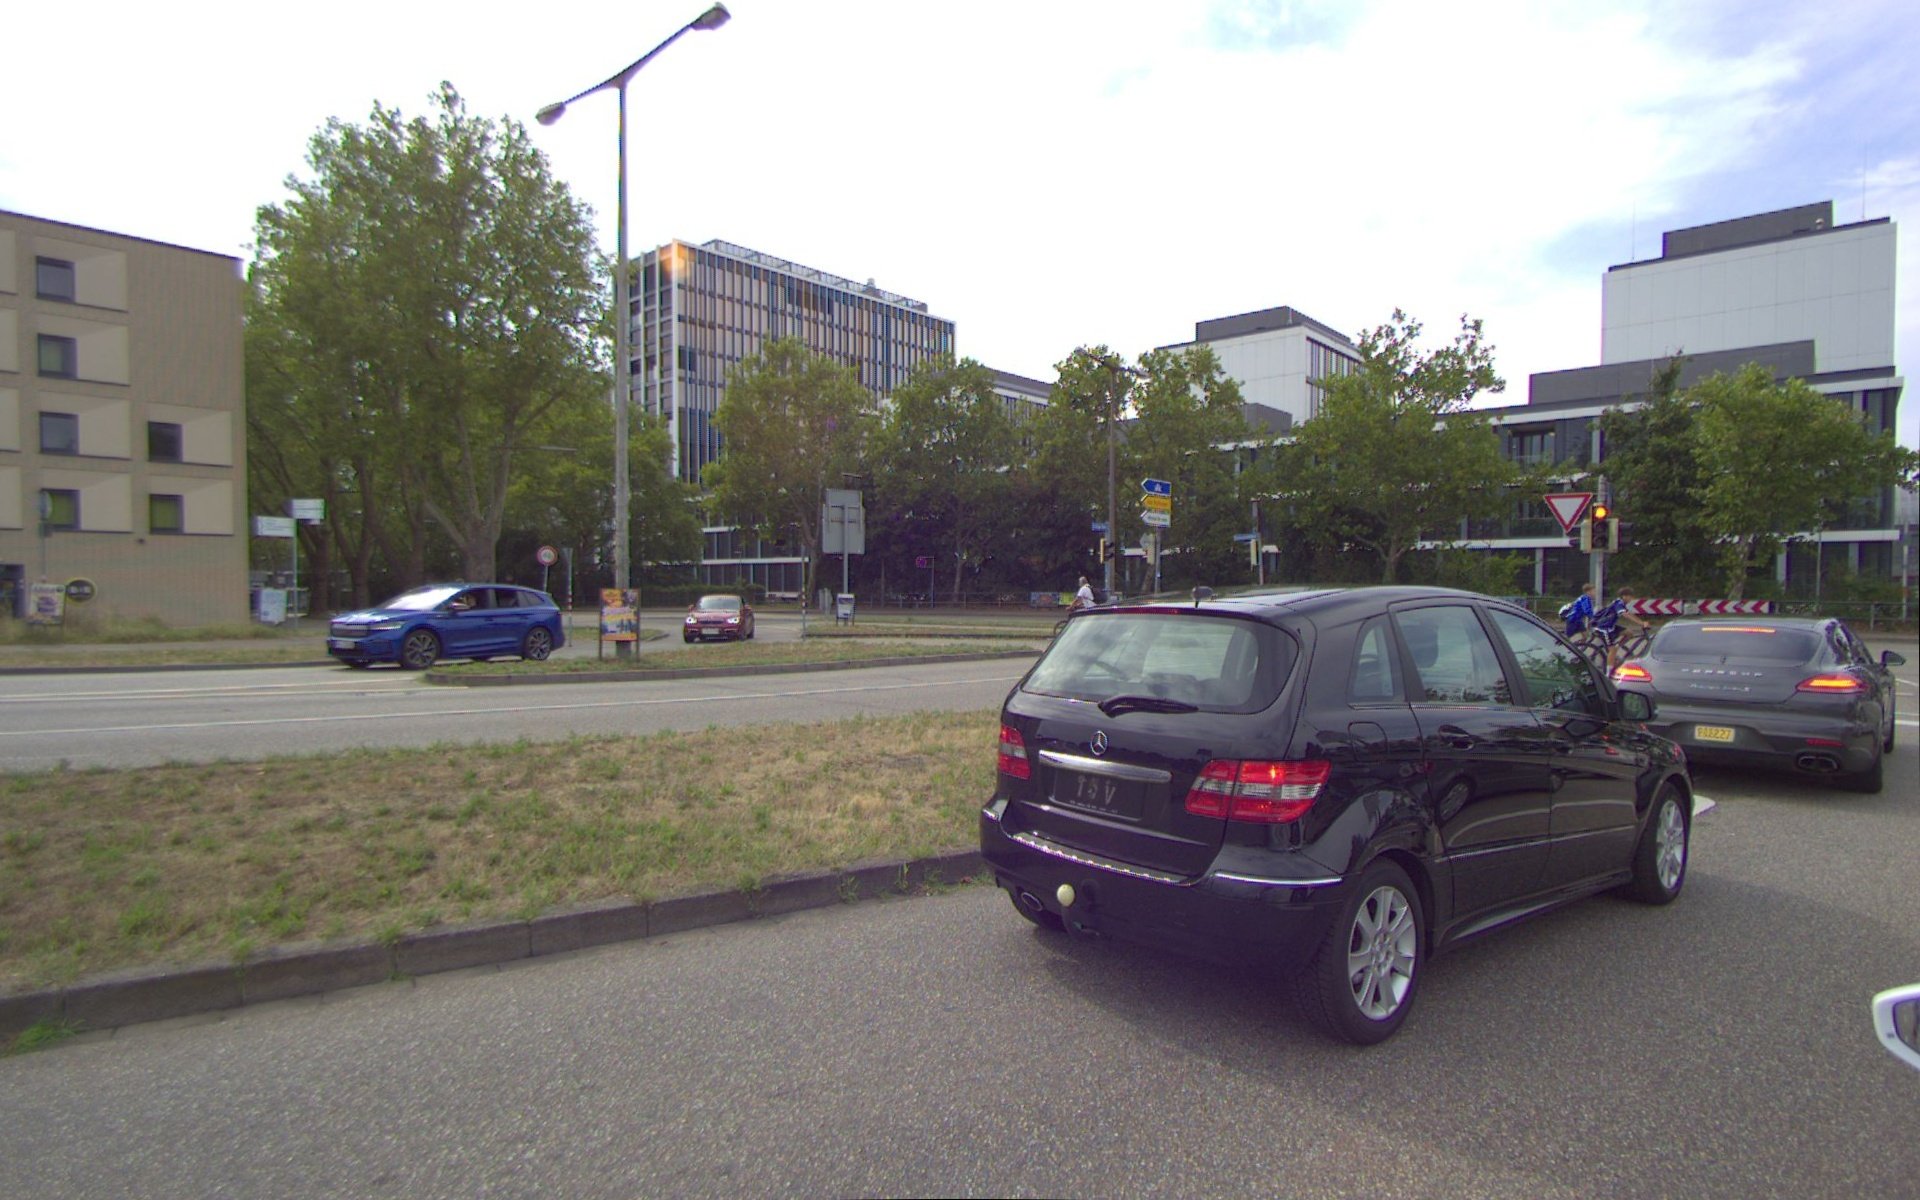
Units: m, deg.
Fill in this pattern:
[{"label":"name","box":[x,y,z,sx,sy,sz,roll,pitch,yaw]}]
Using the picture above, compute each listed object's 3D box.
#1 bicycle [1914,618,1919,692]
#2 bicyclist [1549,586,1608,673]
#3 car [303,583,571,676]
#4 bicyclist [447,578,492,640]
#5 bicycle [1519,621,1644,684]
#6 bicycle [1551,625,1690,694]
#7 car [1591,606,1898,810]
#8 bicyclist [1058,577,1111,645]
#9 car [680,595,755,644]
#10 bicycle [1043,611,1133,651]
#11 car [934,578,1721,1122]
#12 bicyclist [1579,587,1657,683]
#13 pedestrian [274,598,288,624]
[{"label":"bicycle","box":[16.925,0.939,16.411,1.879,1.226,0.640,1,1,41]},{"label":"bicyclist","box":[11.320,0.519,18.394,0.828,1.550,0.625,1,1,40]},{"label":"car","box":[-10.064,0.540,19.759,1.912,1.581,4.462,1,0,23]},{"label":"bicyclist","box":[-13.258,0.241,27.157,0.905,1.636,0.739,1,1,36]},{"label":"bicycle","box":[11.341,0.930,18.369,1.878,1.027,0.625,1,1,40]},{"label":"bicycle","box":[11.085,0.966,16.905,1.880,1.027,0.625,1,1,43]},{"label":"car","box":[7.726,0.808,9.691,1.800,1.433,4.746,2,1,44]},{"label":"bicyclist","box":[3.242,0.283,26.183,1.097,1.719,0.810,1,1,35]},{"label":"car","box":[-7.483,0.580,31.345,1.914,1.399,4.208,1,0,-9]},{"label":"bicycle","box":[3.322,0.786,26.118,2.199,0.965,0.809,1,0,36]},{"label":"car","box":[1.988,0.711,4.881,4.000,1.596,1.743,-1,2,-38]},{"label":"bicyclist","box":[11.064,0.564,16.902,1.005,1.560,0.625,1,1,42]},{"label":"pedestrian","box":[-30.157,0.486,44.615,0.498,1.140,0.458,0,1,-39]}]
